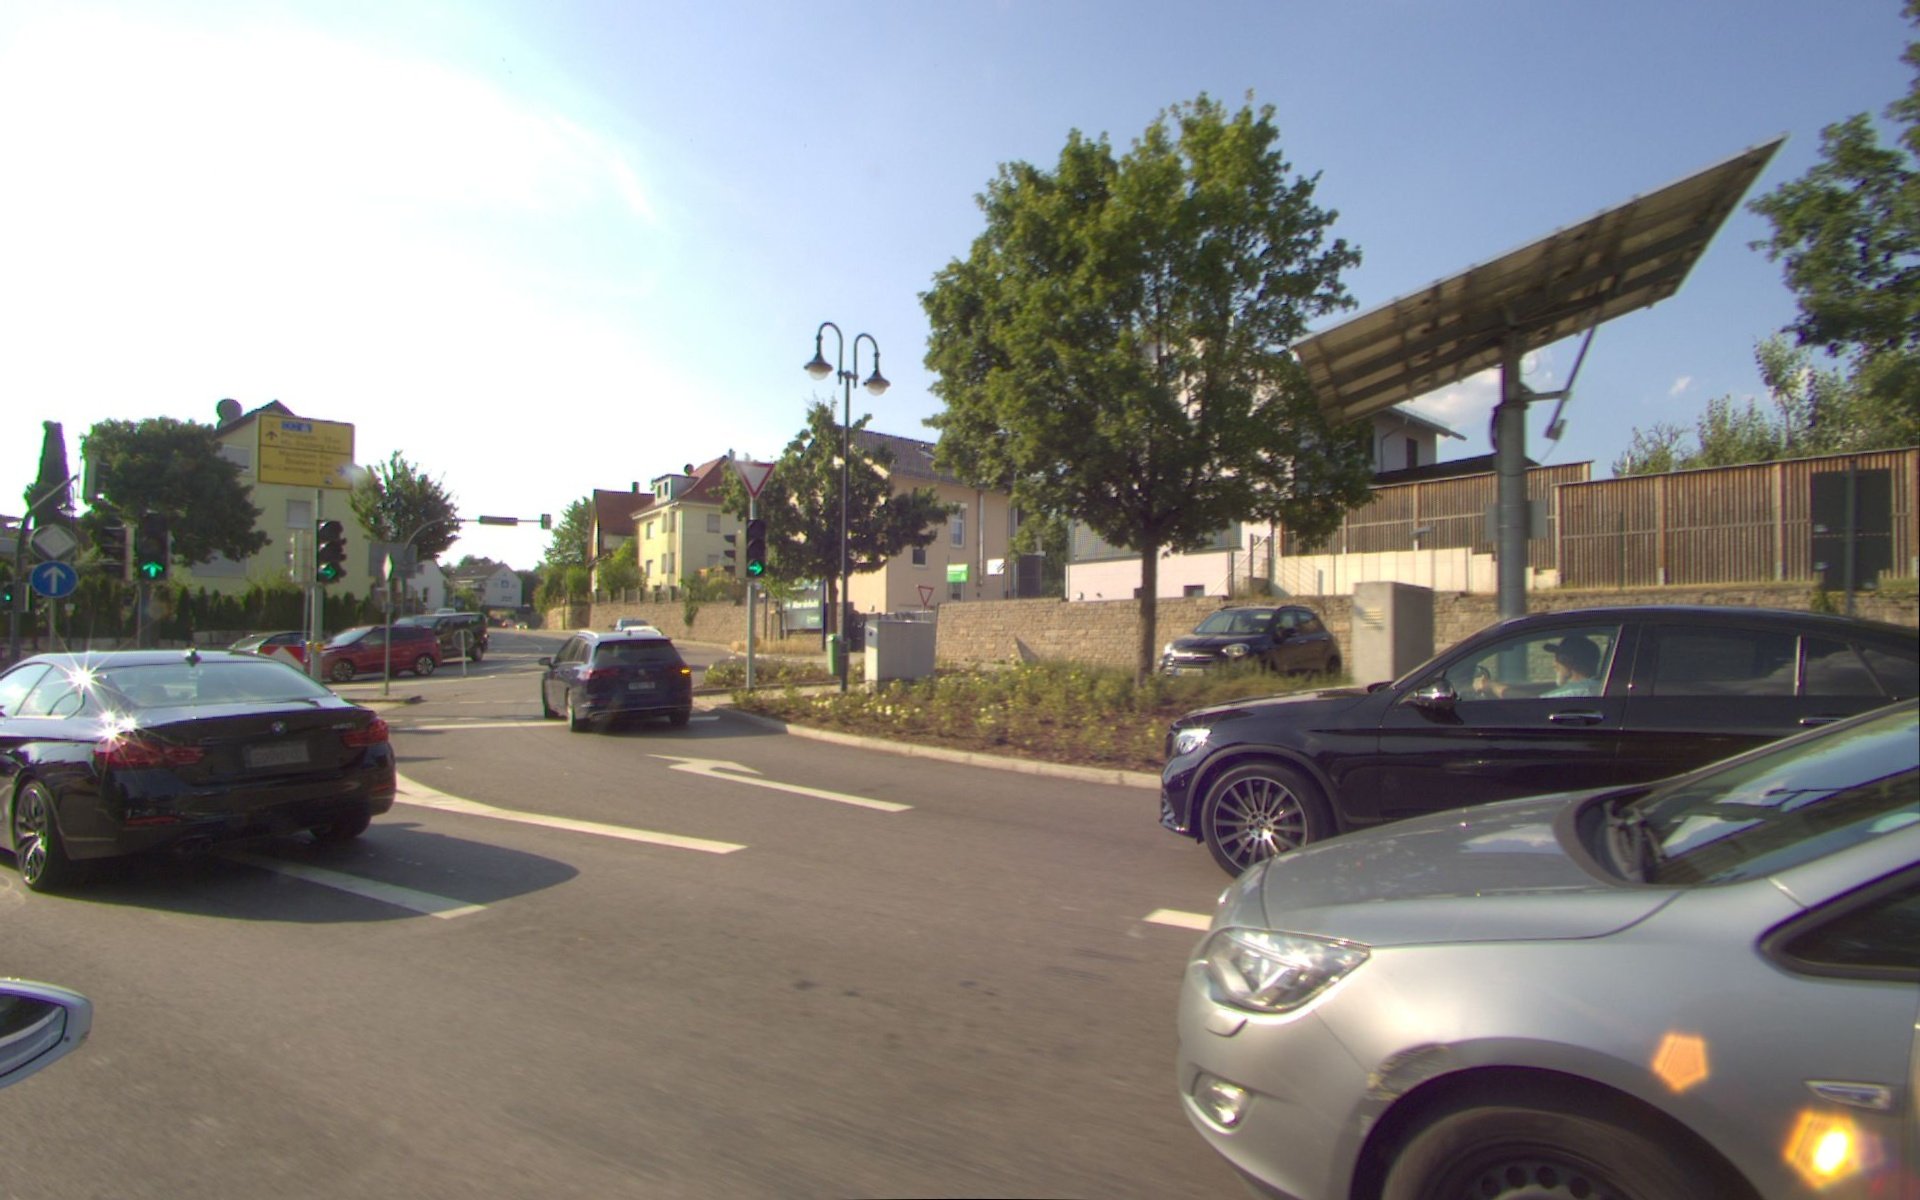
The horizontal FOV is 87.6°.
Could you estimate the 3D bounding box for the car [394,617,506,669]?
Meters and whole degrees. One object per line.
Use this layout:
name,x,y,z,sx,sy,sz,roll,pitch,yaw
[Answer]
car,-20.484,1.708,40.525,1.961,1.956,5.181,0,-2,-1

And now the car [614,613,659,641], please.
car,-16.255,1.366,50.228,1.788,1.361,3.988,1,-2,-24

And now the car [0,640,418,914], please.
car,-5.855,1.002,7.108,4.201,1.386,1.697,-1,-1,32

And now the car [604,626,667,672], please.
car,-11.224,1.682,34.871,1.834,1.513,3.996,1,-2,-15

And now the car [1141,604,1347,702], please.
car,4.933,0.867,17.079,1.662,1.475,4.042,-1,-2,45

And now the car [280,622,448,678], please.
car,-18.645,1.536,31.543,1.833,1.646,4.239,-1,-2,27

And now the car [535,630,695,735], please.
car,-5.581,1.188,15.869,1.612,1.428,4.256,1,-2,-30

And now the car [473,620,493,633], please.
car,-51.464,2.905,108.075,1.788,1.361,3.988,1,-2,-24

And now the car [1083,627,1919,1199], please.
car,2.441,0.788,1.895,4.083,1.441,1.645,-1,0,31

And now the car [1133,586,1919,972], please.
car,3.383,0.788,5.582,4.431,1.586,1.836,-1,-2,33

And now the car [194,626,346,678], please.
car,-21.987,1.619,32.011,1.581,1.561,3.767,-1,-2,43

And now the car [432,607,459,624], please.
car,-44.749,1.379,87.176,1.788,1.361,3.988,1,-2,-24
